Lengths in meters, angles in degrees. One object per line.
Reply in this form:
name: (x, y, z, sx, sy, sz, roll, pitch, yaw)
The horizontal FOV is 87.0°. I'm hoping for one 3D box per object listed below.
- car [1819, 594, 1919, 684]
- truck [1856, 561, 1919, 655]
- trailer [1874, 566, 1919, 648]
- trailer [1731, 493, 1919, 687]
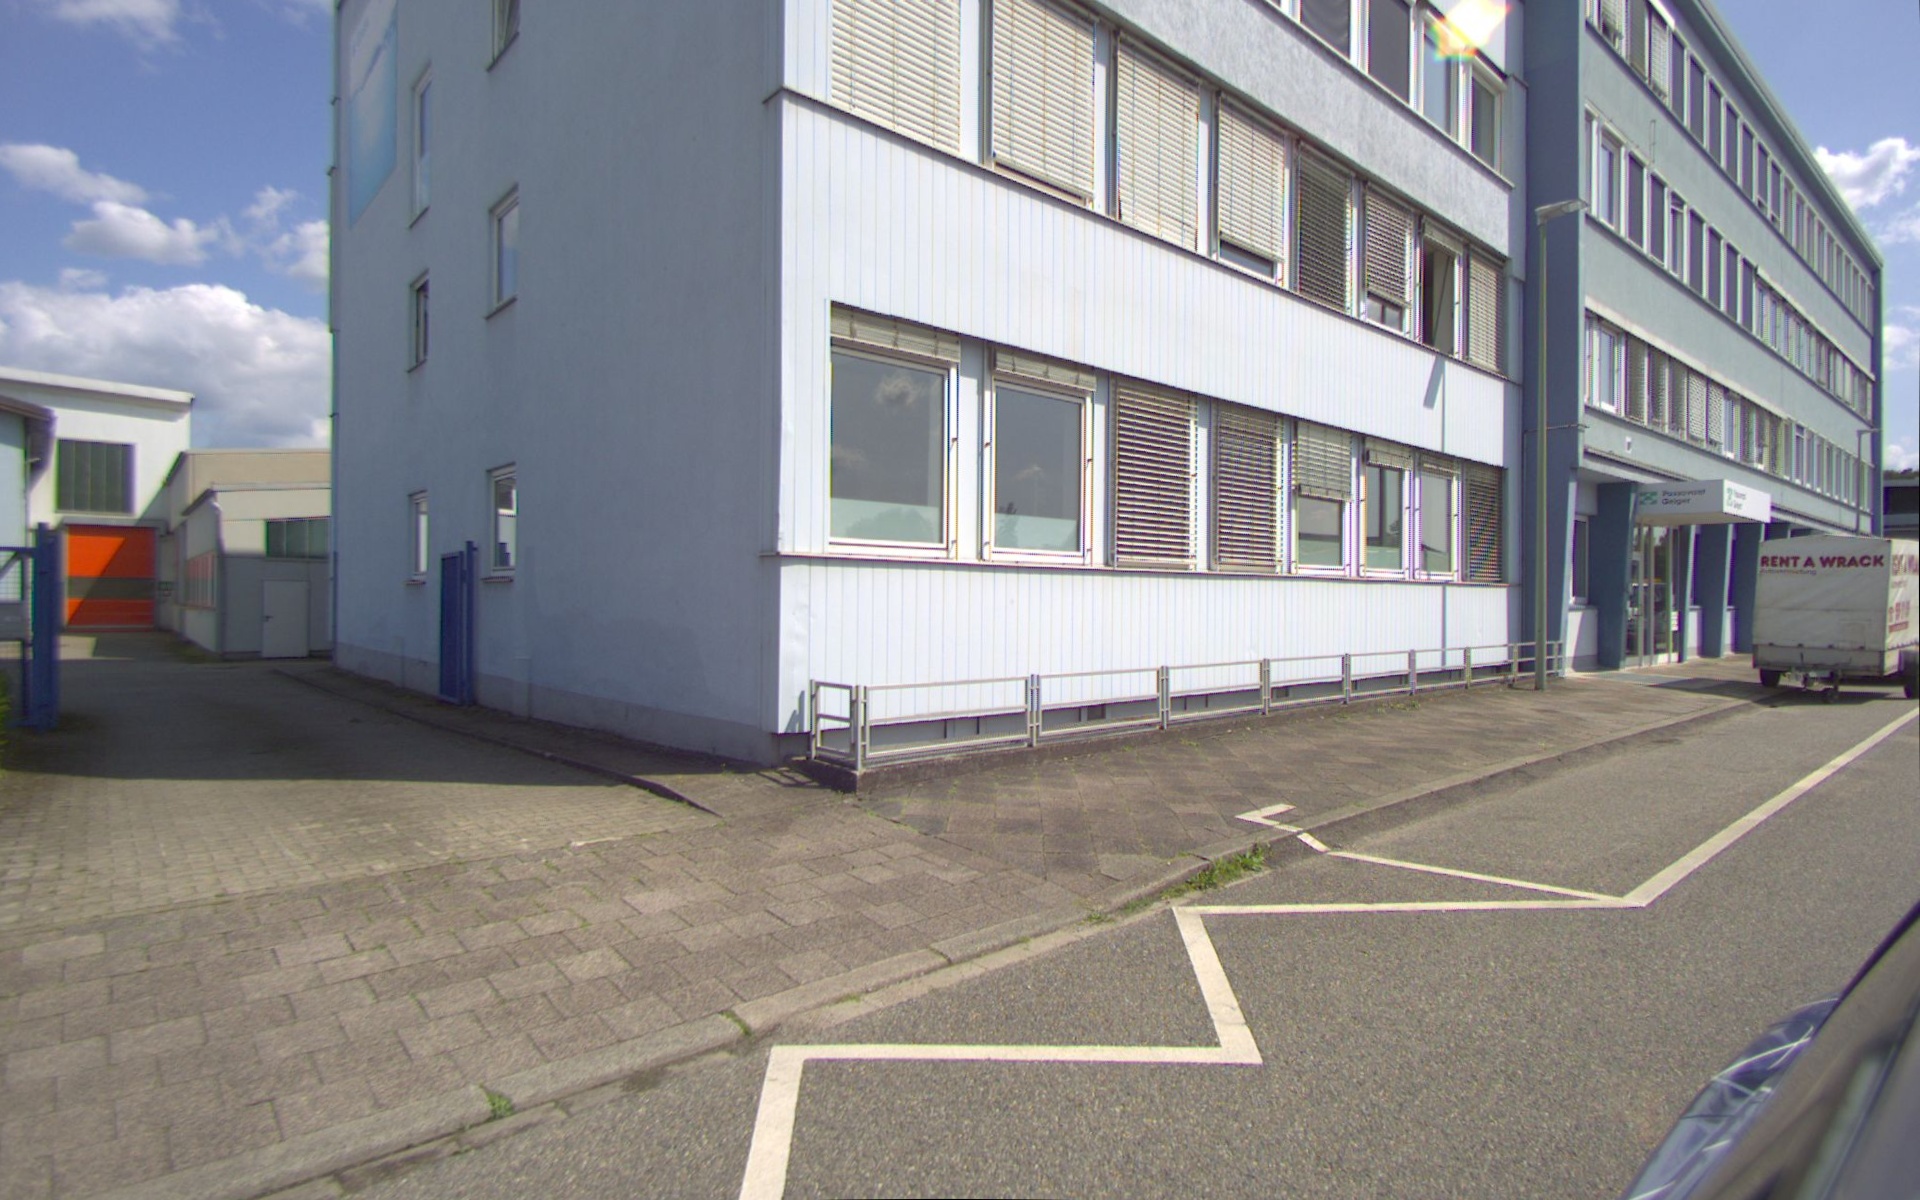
car: (18.410, 0.689, 19.848, 4.326, 1.562, 1.721, -1, -1, -41)
truck: (22.714, 0.153, 23.786, 4.653, 2.061, 1.967, 0, 0, -42)
trailer: (25.517, 0.148, 26.338, 5.667, 1.996, 1.976, 0, 0, -42)
trailer: (13.928, -0.154, 15.785, 4.980, 2.585, 1.873, 0, 0, -39)
